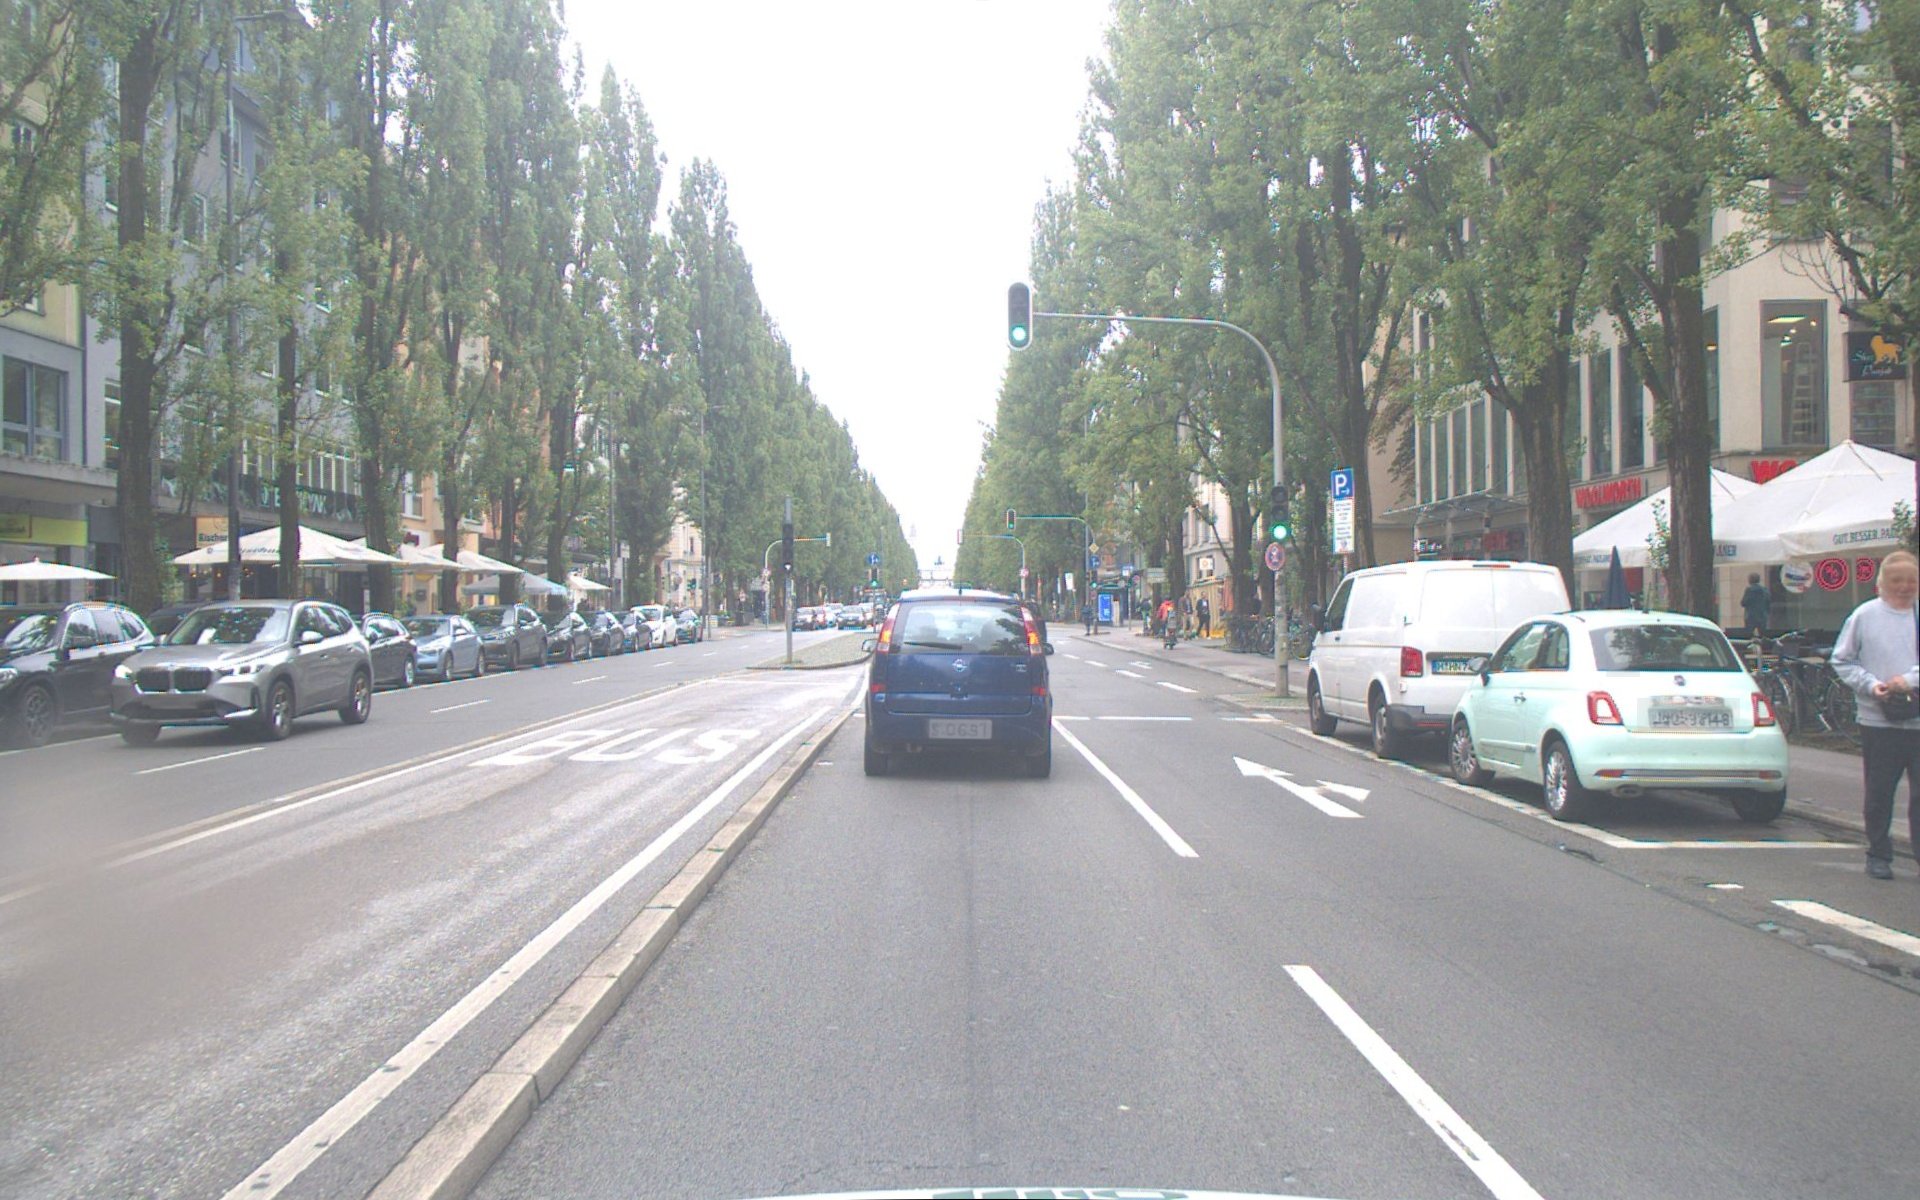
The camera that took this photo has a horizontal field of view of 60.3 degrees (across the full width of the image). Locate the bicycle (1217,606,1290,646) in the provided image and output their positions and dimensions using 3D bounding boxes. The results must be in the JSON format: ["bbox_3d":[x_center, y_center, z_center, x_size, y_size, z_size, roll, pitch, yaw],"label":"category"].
[{"bbox_3d":[9.326,0.829,52.518,2.182,1.225,0.626,-1,0,-3],"label":"bicycle"}]

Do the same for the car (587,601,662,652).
[{"bbox_3d":[-11.924,0.916,59.030,1.828,1.695,4.119,-2,0,-1],"label":"car"}]

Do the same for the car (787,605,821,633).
[{"bbox_3d":[-9.851,1.186,104.687,1.828,1.695,4.119,-1,0,-1],"label":"car"}]

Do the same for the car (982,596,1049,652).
[{"bbox_3d":[1.666,0.706,50.681,1.858,1.650,3.999,0,0,-1],"label":"car"}]

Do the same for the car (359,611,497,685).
[{"bbox_3d":[-11.653,1.010,36.510,1.698,1.450,4.142,-2,0,-1],"label":"car"}]

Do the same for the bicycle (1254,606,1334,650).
[{"bbox_3d":[9.735,0.808,48.234,2.182,1.225,0.626,-1,0,-3],"label":"bicycle"}]

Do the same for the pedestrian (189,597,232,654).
[{"bbox_3d":[-19.229,0.647,42.440,0.750,1.434,0.799,1,-1,-6],"label":"pedestrian"}]

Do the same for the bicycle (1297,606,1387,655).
[{"bbox_3d":[9.954,0.779,43.144,2.182,1.225,0.626,-1,0,-3],"label":"bicycle"}]

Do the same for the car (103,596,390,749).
[{"bbox_3d":[-8.732,0.810,20.690,1.735,1.663,4.454,-1,0,-2],"label":"car"}]

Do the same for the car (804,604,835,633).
[{"bbox_3d":[-10.037,1.312,118.611,1.953,2.049,3.999,-1,0,-1],"label":"car"}]

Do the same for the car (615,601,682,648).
[{"bbox_3d":[-12.065,0.913,64.288,1.828,1.695,4.119,-2,0,-1],"label":"car"}]

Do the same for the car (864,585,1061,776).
[{"bbox_3d":[0.002,0.673,15.816,1.637,1.596,3.999,0,0,-1],"label":"car"}]

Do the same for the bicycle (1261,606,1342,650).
[{"bbox_3d":[9.795,0.799,47.437,2.182,1.225,0.626,-1,0,-3],"label":"bicycle"}]

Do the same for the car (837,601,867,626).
[{"bbox_3d":[-6.852,0.847,105.479,1.699,1.491,3.364,-1,0,-1],"label":"car"}]

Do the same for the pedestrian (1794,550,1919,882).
[{"bbox_3d":[5.347,0.630,9.421,0.809,1.804,0.871,-1,0,8],"label":"pedestrian"}]

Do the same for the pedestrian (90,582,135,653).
[{"bbox_3d":[-20.965,0.441,40.943,0.740,1.715,0.675,-1,-1,0],"label":"pedestrian"}]

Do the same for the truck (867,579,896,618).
[{"bbox_3d":[-6.971,-0.142,148.087,2.334,3.405,7.109,-1,0,-1],"label":"truck"}]

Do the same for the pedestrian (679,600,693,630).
[{"bbox_3d":[-16.765,0.925,101.098,0.754,1.797,0.882,-1,0,-14],"label":"pedestrian"}]

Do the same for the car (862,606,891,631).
[{"bbox_3d":[-5.839,1.278,116.269,1.828,1.695,4.119,-1,0,-1],"label":"car"}]

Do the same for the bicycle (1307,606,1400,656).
[{"bbox_3d":[10.003,0.779,42.061,2.182,1.225,0.626,-1,0,-3],"label":"bicycle"}]

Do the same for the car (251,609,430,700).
[{"bbox_3d":[-11.643,0.970,31.407,1.762,1.515,4.349,-2,0,-1],"label":"car"}]

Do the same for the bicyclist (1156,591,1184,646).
[{"bbox_3d":[6.918,0.603,54.479,0.752,1.797,0.885,-1,0,-1],"label":"bicyclist"}]

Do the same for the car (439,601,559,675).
[{"bbox_3d":[-11.677,0.919,42.216,1.828,1.695,4.400,-2,0,-1],"label":"car"}]

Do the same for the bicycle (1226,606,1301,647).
[{"bbox_3d":[9.370,0.821,51.141,2.182,1.225,0.626,-1,0,-3],"label":"bicycle"}]

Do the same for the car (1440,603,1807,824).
[{"bbox_3d":[5.085,0.791,13.157,1.509,1.518,3.523,0,0,0],"label":"car"}]

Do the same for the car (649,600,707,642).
[{"bbox_3d":[-12.165,0.883,71.563,1.828,1.695,4.119,-2,0,-1],"label":"car"}]

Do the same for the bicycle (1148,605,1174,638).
[{"bbox_3d":[8.462,0.884,69.692,0.757,1.372,2.449,-1,0,-1],"label":"bicycle"}]

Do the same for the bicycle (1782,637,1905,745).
[{"bbox_3d":[8.914,0.894,16.740,0.342,1.013,1.453,-2,-1,-4],"label":"bicycle"}]

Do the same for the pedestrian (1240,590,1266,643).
[{"bbox_3d":[10.407,0.570,58.831,0.625,1.859,0.885,1,-1,-11],"label":"pedestrian"}]

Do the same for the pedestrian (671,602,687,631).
[{"bbox_3d":[-17.531,1.049,103.150,0.757,1.797,0.878,0,0,-25],"label":"pedestrian"}]

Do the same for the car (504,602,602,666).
[{"bbox_3d":[-11.838,0.957,48.350,1.828,1.695,4.119,-2,0,-1],"label":"car"}]

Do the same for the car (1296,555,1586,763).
[{"bbox_3d":[5.084,0.560,18.176,1.751,1.980,4.729,0,0,-1],"label":"car"}]

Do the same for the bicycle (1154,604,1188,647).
[{"bbox_3d":[6.921,0.817,54.315,0.757,1.372,2.449,-1,0,-1],"label":"bicycle"}]

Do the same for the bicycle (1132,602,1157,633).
[{"bbox_3d":[8.328,0.761,74.728,0.757,1.372,2.449,-1,0,-1],"label":"bicycle"}]

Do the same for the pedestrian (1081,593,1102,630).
[{"bbox_3d":[6.385,0.549,80.338,0.865,1.797,0.769,-1,0,-4],"label":"pedestrian"}]

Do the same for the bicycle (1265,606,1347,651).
[{"bbox_3d":[9.745,0.793,46.627,2.182,1.225,0.626,-1,0,-3],"label":"bicycle"}]

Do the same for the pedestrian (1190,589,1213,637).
[{"bbox_3d":[9.389,0.495,64.320,0.625,1.859,0.885,1,-1,-11],"label":"pedestrian"}]

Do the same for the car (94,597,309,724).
[{"bbox_3d":[-11.683,0.873,25.761,1.675,1.751,3.919,-2,0,-4],"label":"car"}]

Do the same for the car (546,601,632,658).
[{"bbox_3d":[-11.948,0.933,53.502,1.828,1.695,4.119,-2,0,-1],"label":"car"}]

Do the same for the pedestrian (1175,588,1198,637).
[{"bbox_3d":[8.733,0.489,63.766,0.625,1.859,0.885,1,-1,-11],"label":"pedestrian"}]

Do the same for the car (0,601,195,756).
[{"bbox_3d":[-11.449,0.896,20.442,1.828,1.693,4.610,-2,0,-1],"label":"car"}]

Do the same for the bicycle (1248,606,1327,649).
[{"bbox_3d":[9.694,0.816,49.029,2.182,1.225,0.626,-1,0,-3],"label":"bicycle"}]
